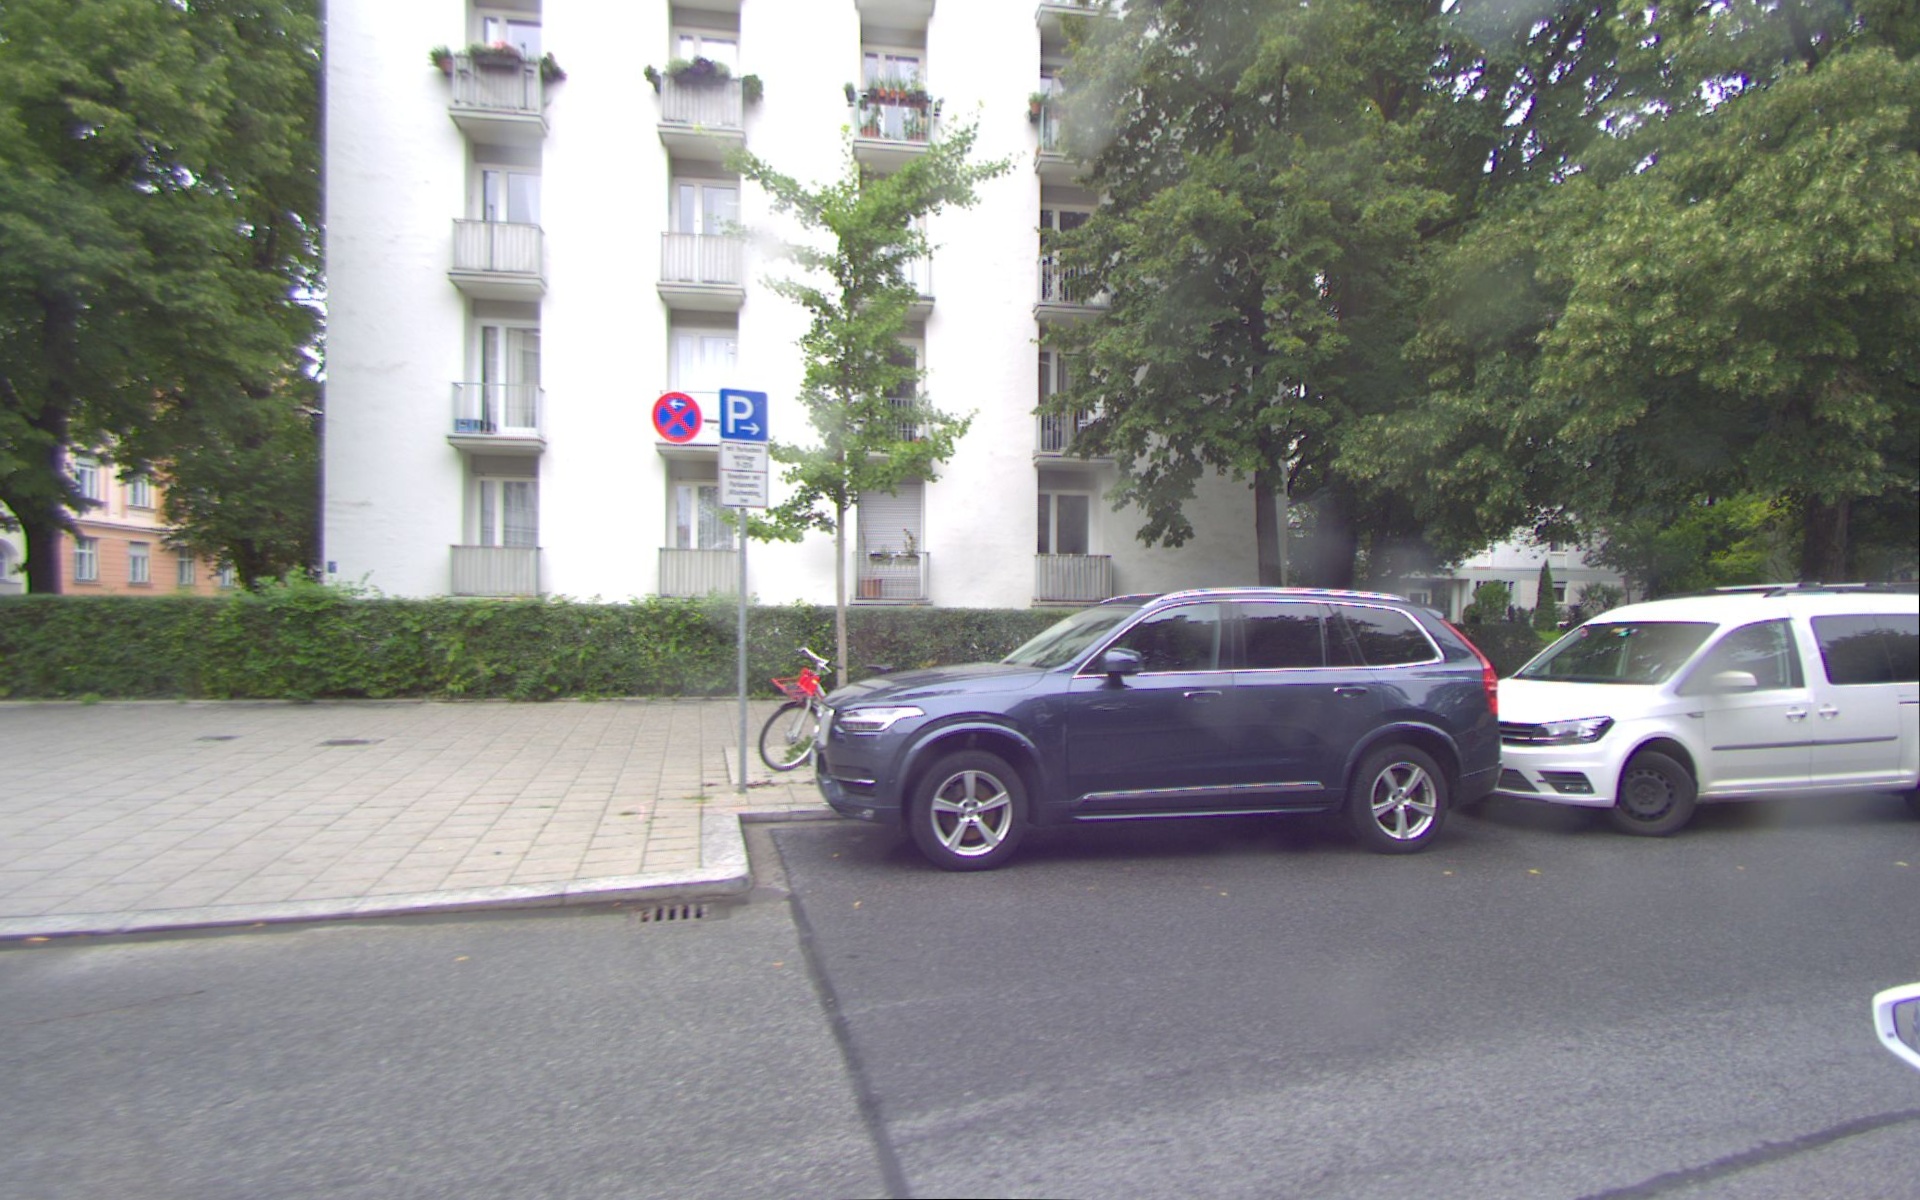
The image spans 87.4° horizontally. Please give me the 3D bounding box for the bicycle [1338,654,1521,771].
[{"bbox_3d":[5.107,1.195,10.931,1.821,1.195,0.618,1,-1,-14],"label":"bicycle"}]

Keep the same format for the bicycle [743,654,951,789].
[{"bbox_3d":[-1.039,1.072,9.261,1.760,1.099,0.749,1,-1,-26],"label":"bicycle"}]

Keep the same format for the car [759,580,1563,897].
[{"bbox_3d":[1.259,0.814,7.135,5.213,1.742,2.085,1,-1,-13],"label":"car"}]

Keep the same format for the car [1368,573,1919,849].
[{"bbox_3d":[6.246,0.828,8.639,4.776,1.929,2.085,1,-1,-14],"label":"car"}]

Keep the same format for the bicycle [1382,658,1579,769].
[{"bbox_3d":[5.288,1.126,10.219,1.821,1.039,0.618,1,-1,-14],"label":"bicycle"}]

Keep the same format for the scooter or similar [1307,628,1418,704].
[{"bbox_3d":[6.677,1.083,16.675,1.631,1.207,0.701,1,-1,-17],"label":"scooter or similar"}]
